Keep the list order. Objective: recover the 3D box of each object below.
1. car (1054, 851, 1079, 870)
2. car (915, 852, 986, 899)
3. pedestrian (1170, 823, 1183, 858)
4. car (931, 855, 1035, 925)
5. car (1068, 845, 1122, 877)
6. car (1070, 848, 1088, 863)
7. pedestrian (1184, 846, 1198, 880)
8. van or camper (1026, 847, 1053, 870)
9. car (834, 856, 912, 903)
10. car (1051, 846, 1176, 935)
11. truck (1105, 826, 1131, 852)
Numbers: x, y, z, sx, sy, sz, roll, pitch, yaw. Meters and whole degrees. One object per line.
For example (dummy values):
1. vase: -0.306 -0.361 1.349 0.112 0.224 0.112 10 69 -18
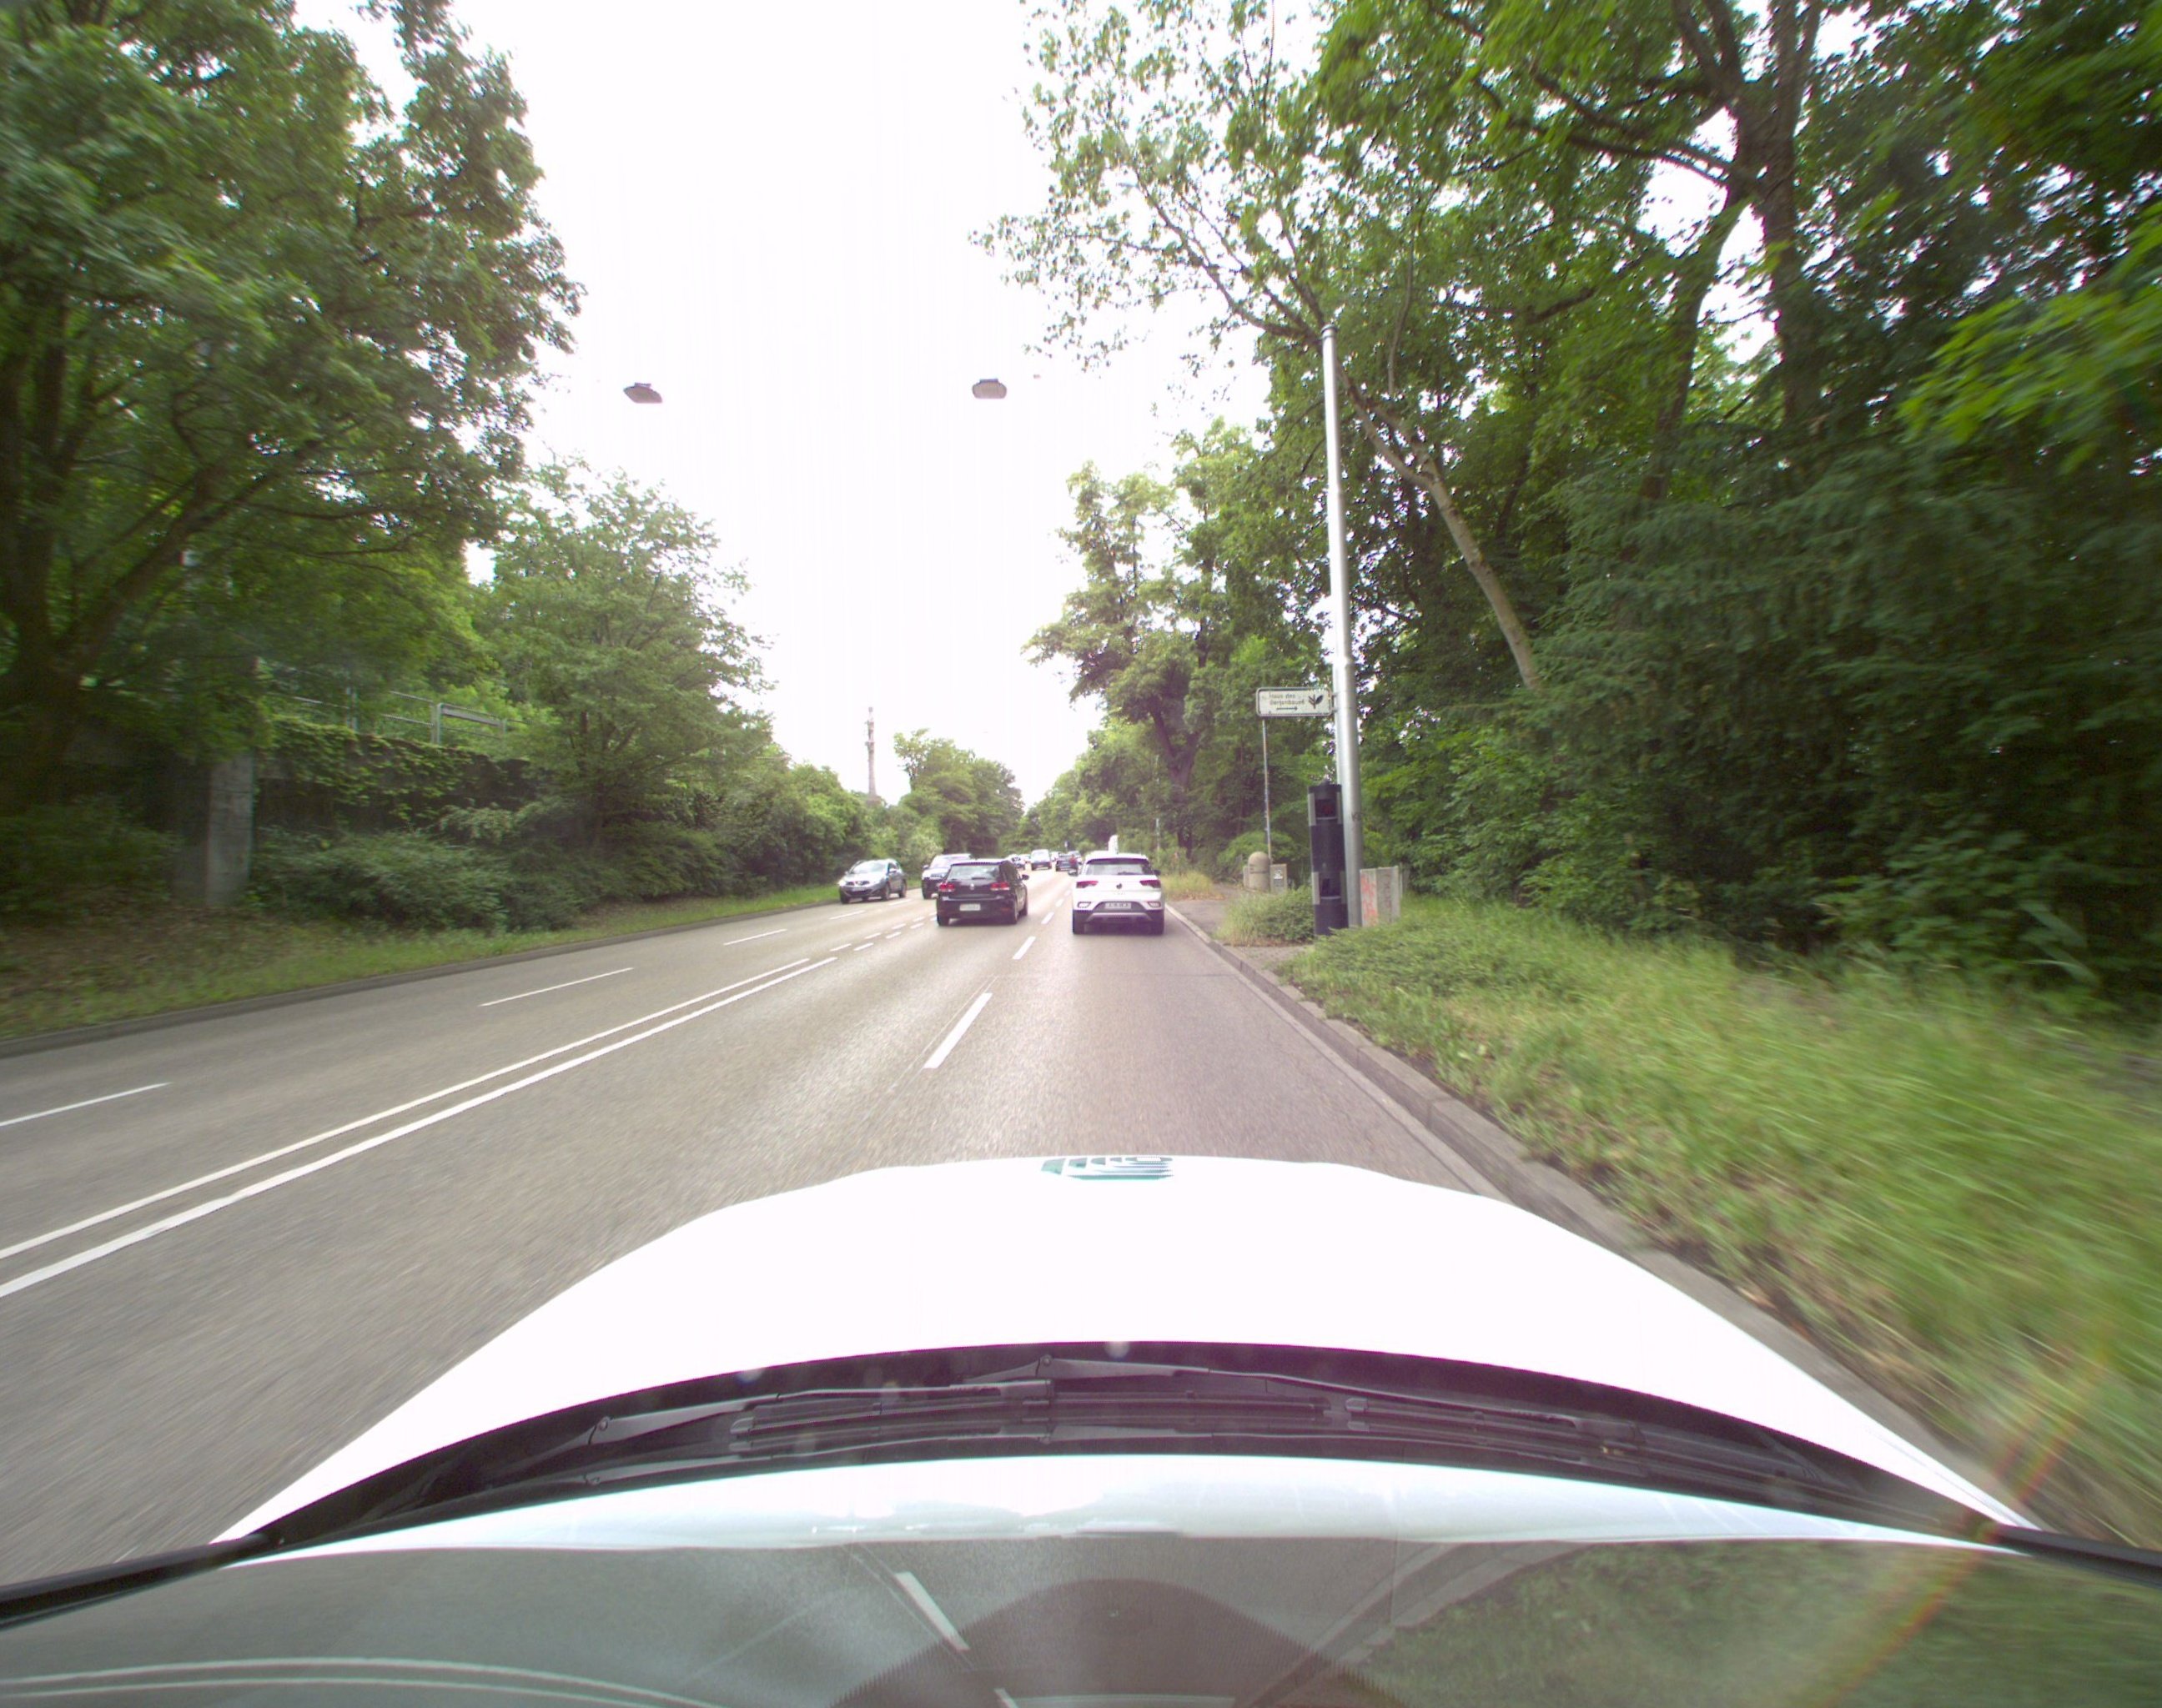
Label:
1. car: -1.263 0.579 70.846 1.986 1.592 4.001 0 0 1
2. car: -5.079 0.801 32.274 1.803 1.662 4.832 -3 -1 2
3. pedestrian: 4.766 -0.682 40.658 0.518 1.753 0.524 0 0 -2
4. car: -2.177 0.754 19.178 1.943 1.466 3.999 0 0 0
5. car: 0.791 0.395 48.826 1.858 1.702 3.973 -4 1 -20
6. car: -0.197 0.157 89.924 1.815 1.623 4.001 0 0 1
7. pedestrian: 5.506 0.448 40.643 0.607 1.698 0.548 0 0 -2
8. van or camper: -4.163 0.459 81.451 1.994 2.013 5.350 -5 0 -10
9. car: -8.070 0.938 31.932 1.784 1.611 4.191 -3 0 2
10. car: 0.529 0.660 16.864 1.998 1.596 3.991 0 0 -7
11. truck: 4.618 -1.816 102.929 2.477 3.181 7.218 0 0 -4
